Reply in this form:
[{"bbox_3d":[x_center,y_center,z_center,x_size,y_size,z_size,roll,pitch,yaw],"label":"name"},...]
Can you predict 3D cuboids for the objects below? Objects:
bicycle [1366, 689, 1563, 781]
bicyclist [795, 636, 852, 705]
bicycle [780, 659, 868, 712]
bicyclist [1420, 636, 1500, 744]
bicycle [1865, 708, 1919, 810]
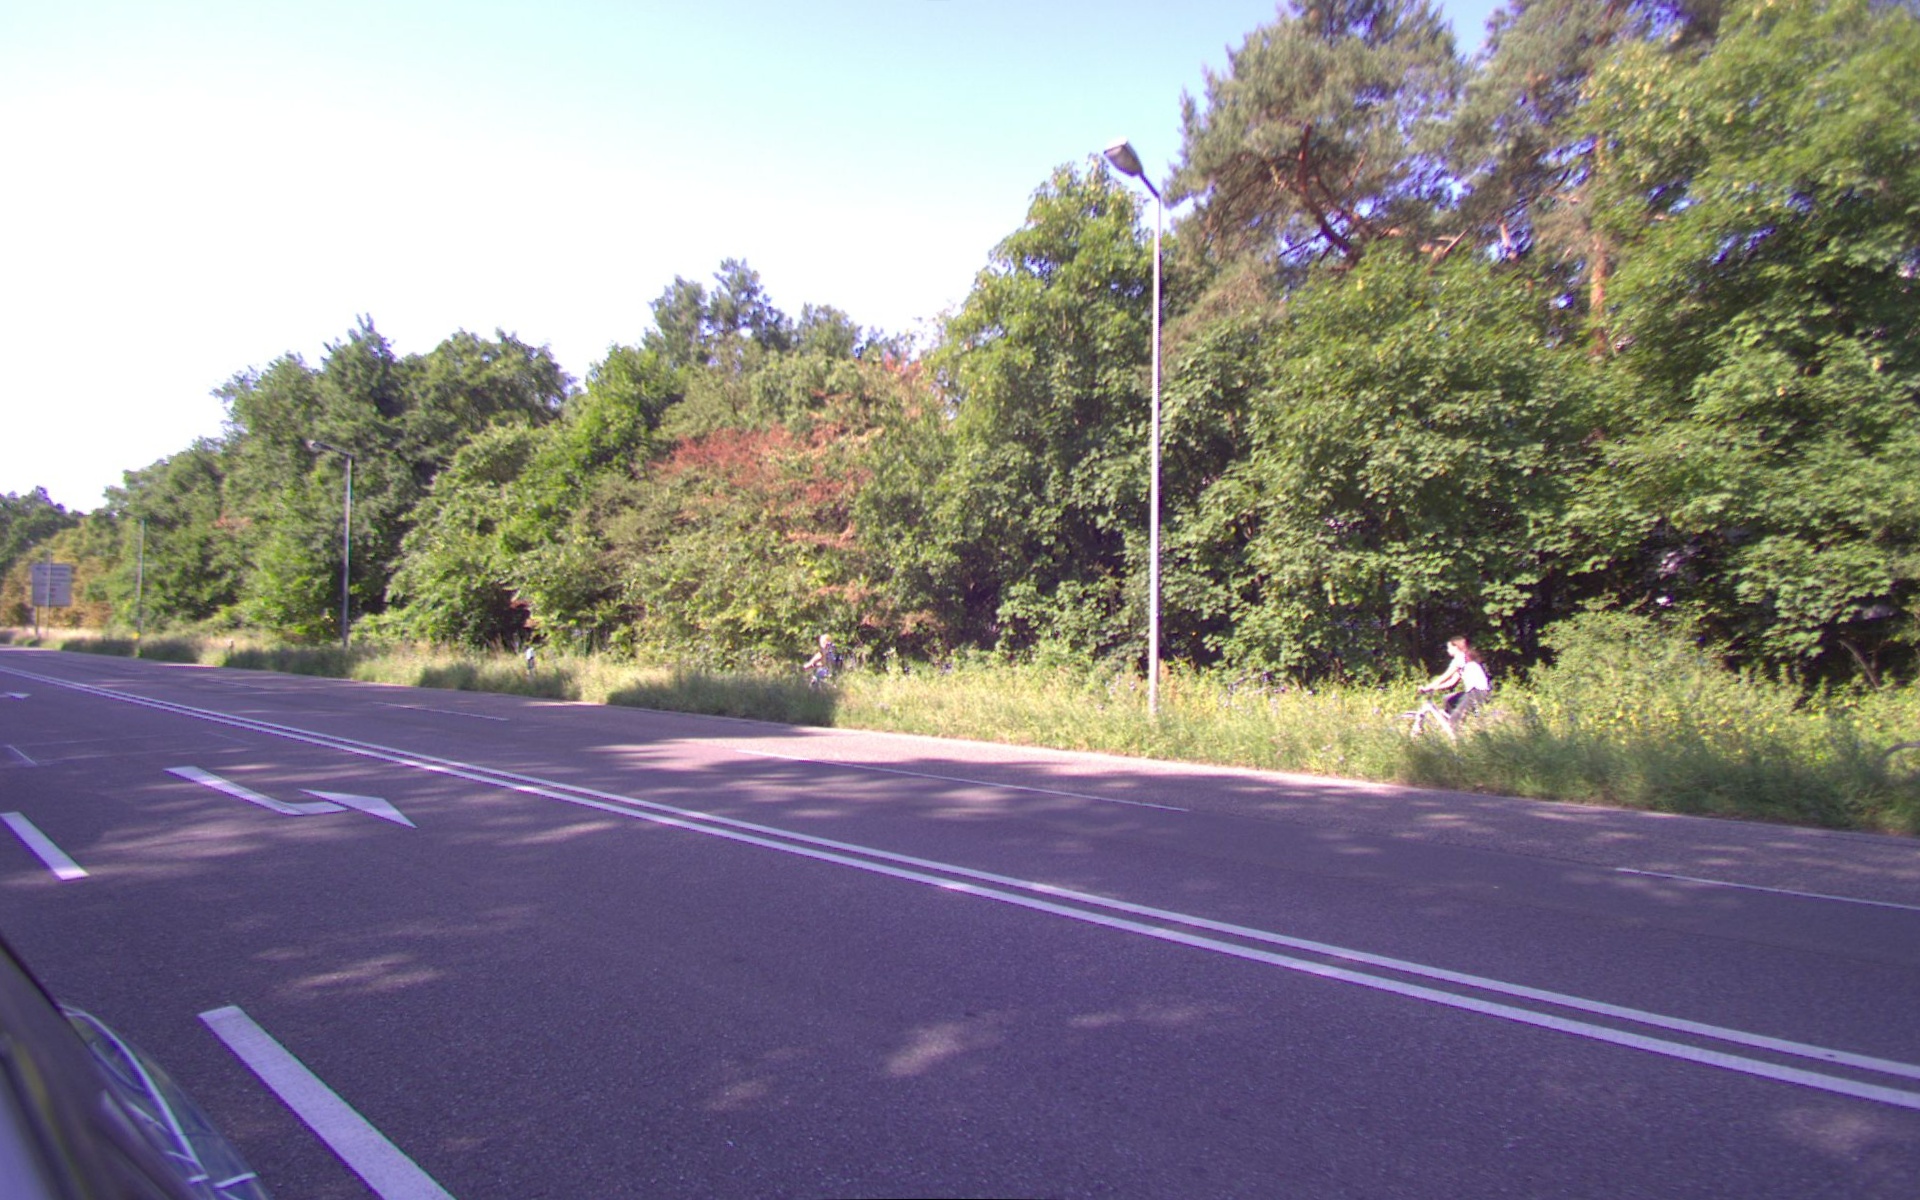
[{"bbox_3d":[6.314,1.663,12.778,2.138,0.965,0.597,-2,-2,43],"label":"bicycle"},{"bbox_3d":[-2.822,1.440,20.952,0.974,1.352,0.668,-1,0,38],"label":"bicyclist"},{"bbox_3d":[-2.837,1.746,20.965,1.911,0.963,0.668,-1,0,38],"label":"bicycle"},{"bbox_3d":[6.300,1.109,12.756,0.727,1.273,0.693,-1,0,42],"label":"bicyclist"},{"bbox_3d":[9.951,1.550,9.511,2.138,0.921,0.597,-2,-2,43],"label":"bicycle"}]
